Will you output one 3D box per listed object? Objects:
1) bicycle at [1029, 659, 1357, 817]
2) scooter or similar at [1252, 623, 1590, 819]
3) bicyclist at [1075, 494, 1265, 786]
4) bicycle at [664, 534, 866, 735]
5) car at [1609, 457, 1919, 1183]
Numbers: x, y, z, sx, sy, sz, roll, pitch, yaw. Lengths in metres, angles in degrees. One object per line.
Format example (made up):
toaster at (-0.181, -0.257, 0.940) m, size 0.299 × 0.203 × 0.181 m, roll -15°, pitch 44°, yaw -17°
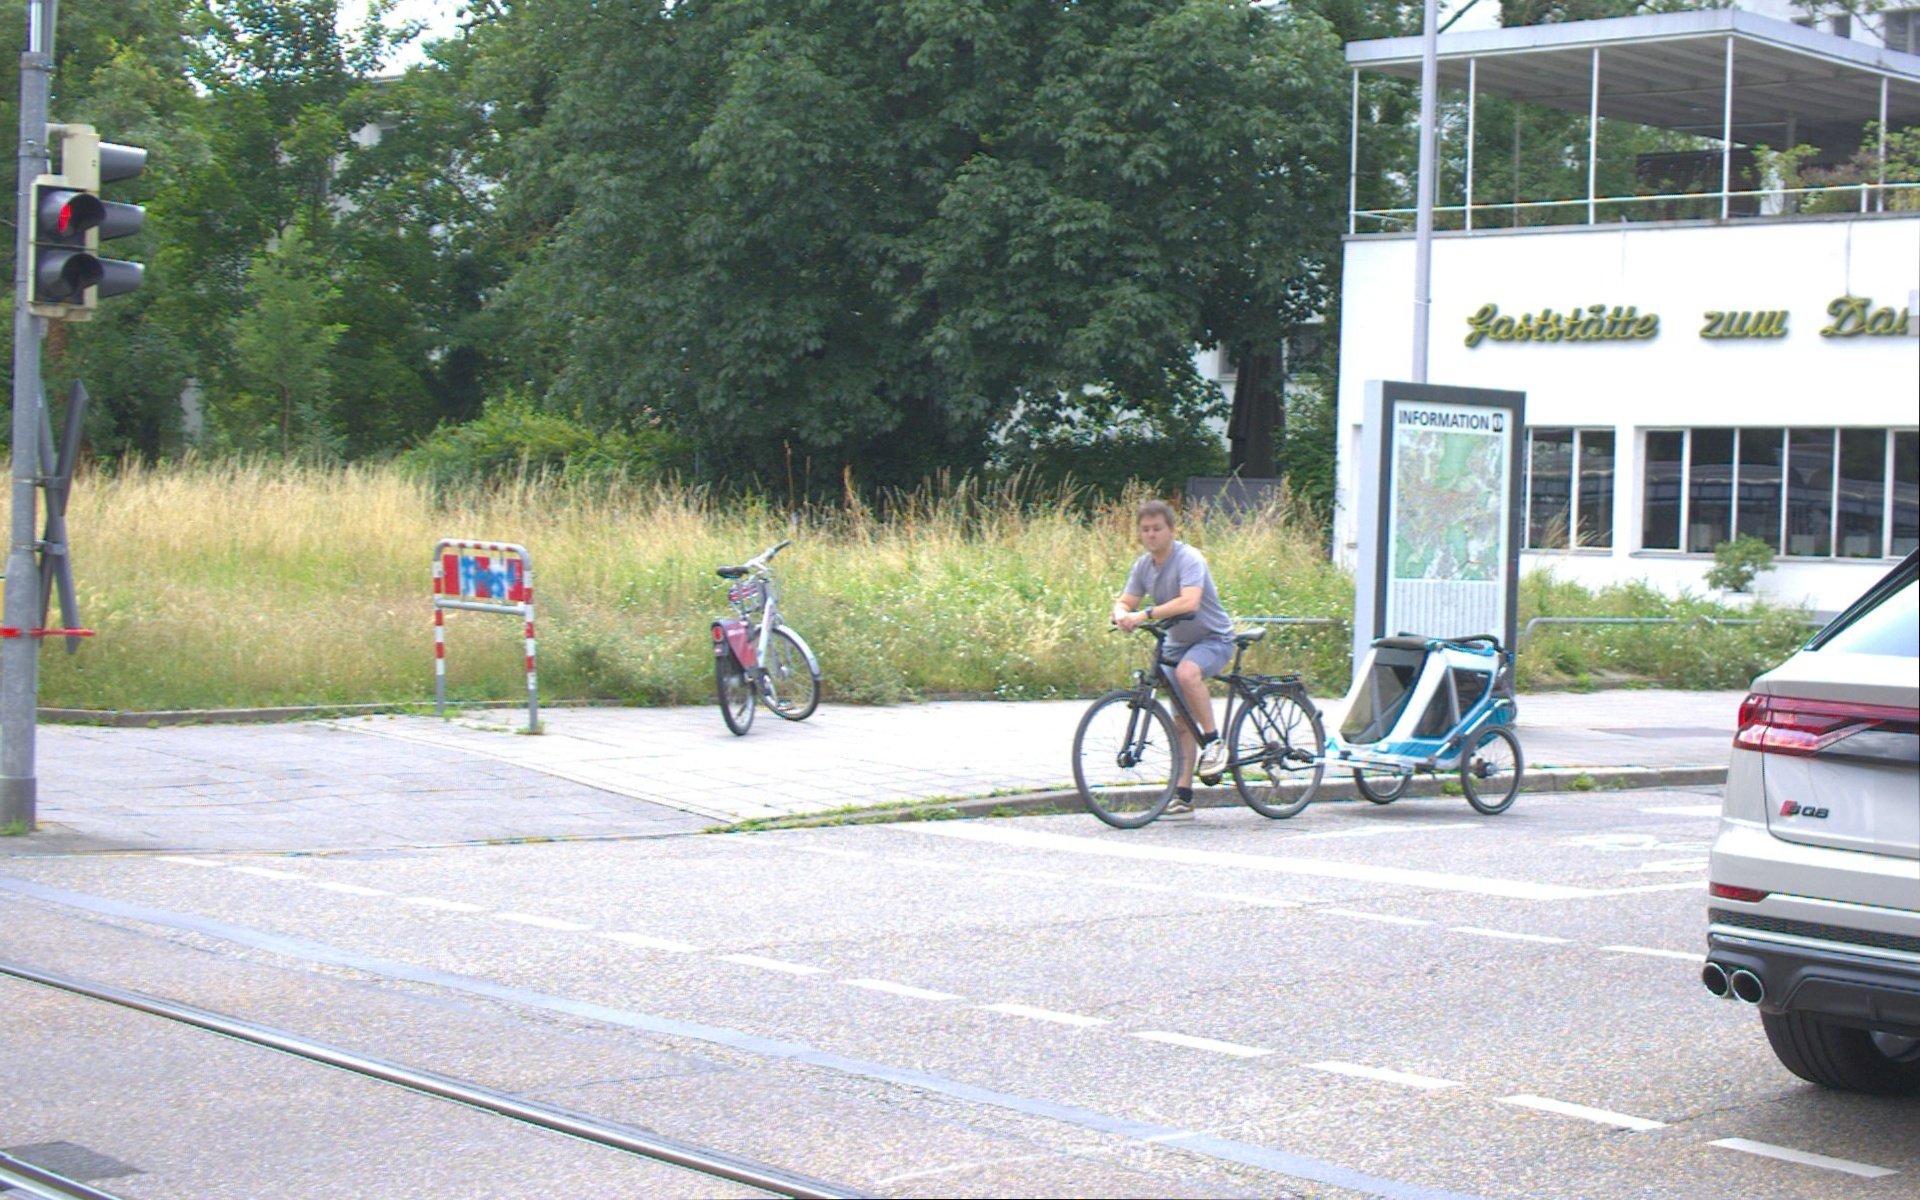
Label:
bicycle at (1.227, 0.717, 17.902) m, size 1.722 × 0.762 × 0.555 m, roll 2°, pitch 1°, yaw -36°
scooter or similar at (2.510, 0.633, 18.700) m, size 1.575 × 0.976 × 0.962 m, roll 0°, pitch 2°, yaw -36°
bicyclist at (1.088, 0.201, 17.774) m, size 0.839 × 1.470 × 0.455 m, roll 1°, pitch 1°, yaw -36°
bicycle at (-1.196, 0.192, 21.440) m, size 0.700 × 1.128 × 1.659 m, roll 3°, pitch 3°, yaw 17°
car at (3.963, 0.522, 9.486) m, size 4.562 × 1.678 × 1.987 m, roll 0°, pitch 2°, yaw -45°
